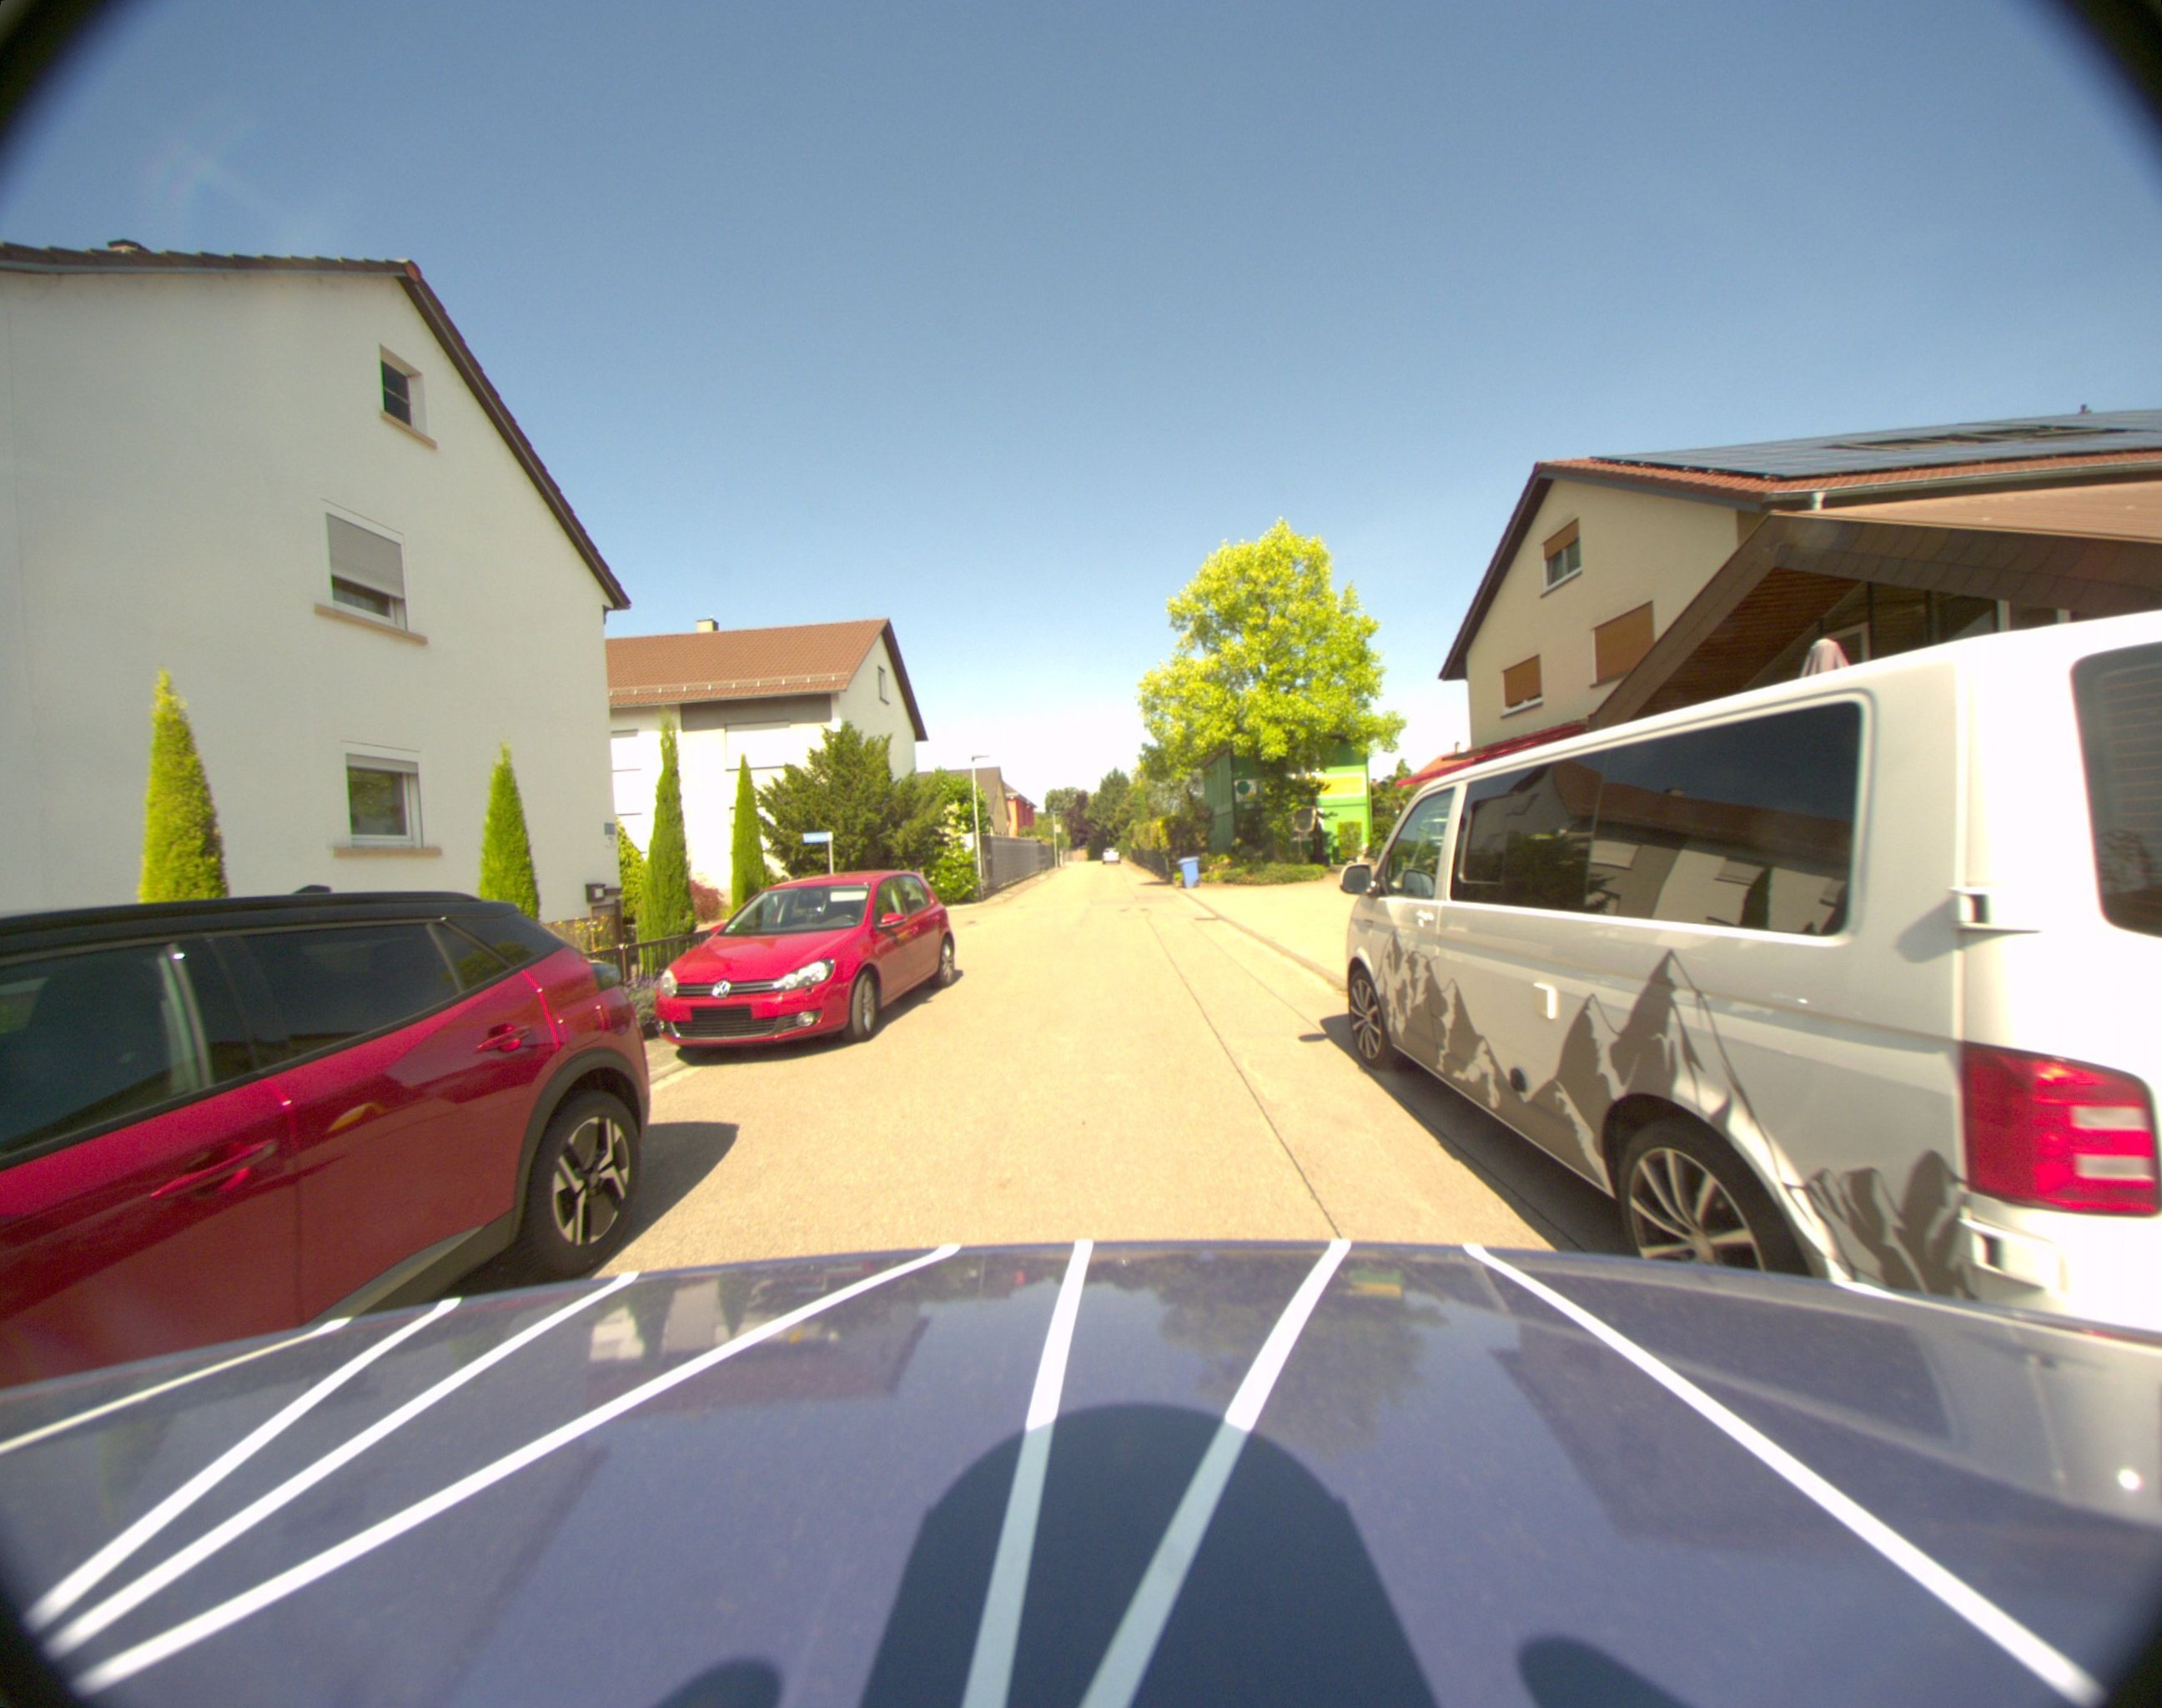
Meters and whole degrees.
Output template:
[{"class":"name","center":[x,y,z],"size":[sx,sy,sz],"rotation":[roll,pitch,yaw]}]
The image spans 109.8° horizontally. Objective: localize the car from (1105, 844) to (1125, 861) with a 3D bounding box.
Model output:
[{"class":"car","center":[3.186,-0.178,72.258],"size":[1.757,1.478,4.375],"rotation":[-3,1,2]}]

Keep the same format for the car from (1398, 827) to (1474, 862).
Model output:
[{"class":"car","center":[17.176,-0.507,36.991],"size":[1.861,1.439,3.999],"rotation":[-5,2,2]}]

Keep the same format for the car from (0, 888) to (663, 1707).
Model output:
[{"class":"car","center":[-2.775,1.036,1.280],"size":[1.827,1.606,3.999],"rotation":[-4,1,0]}]

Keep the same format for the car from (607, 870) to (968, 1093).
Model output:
[{"class":"car","center":[-2.614,1.058,7.941],"size":[1.779,1.471,4.001],"rotation":[-5,1,6]}]

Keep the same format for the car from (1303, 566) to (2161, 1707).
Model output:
[{"class":"car","center":[2.598,0.507,3.468],"size":[1.933,2.002,4.896],"rotation":[-3,1,4]}]

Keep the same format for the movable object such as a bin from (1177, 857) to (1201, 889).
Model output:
[{"class":"movable object such as a bin","center":[3.865,0.670,27.215],"size":[0.732,1.048,0.612],"rotation":[-4,1,2]}]
